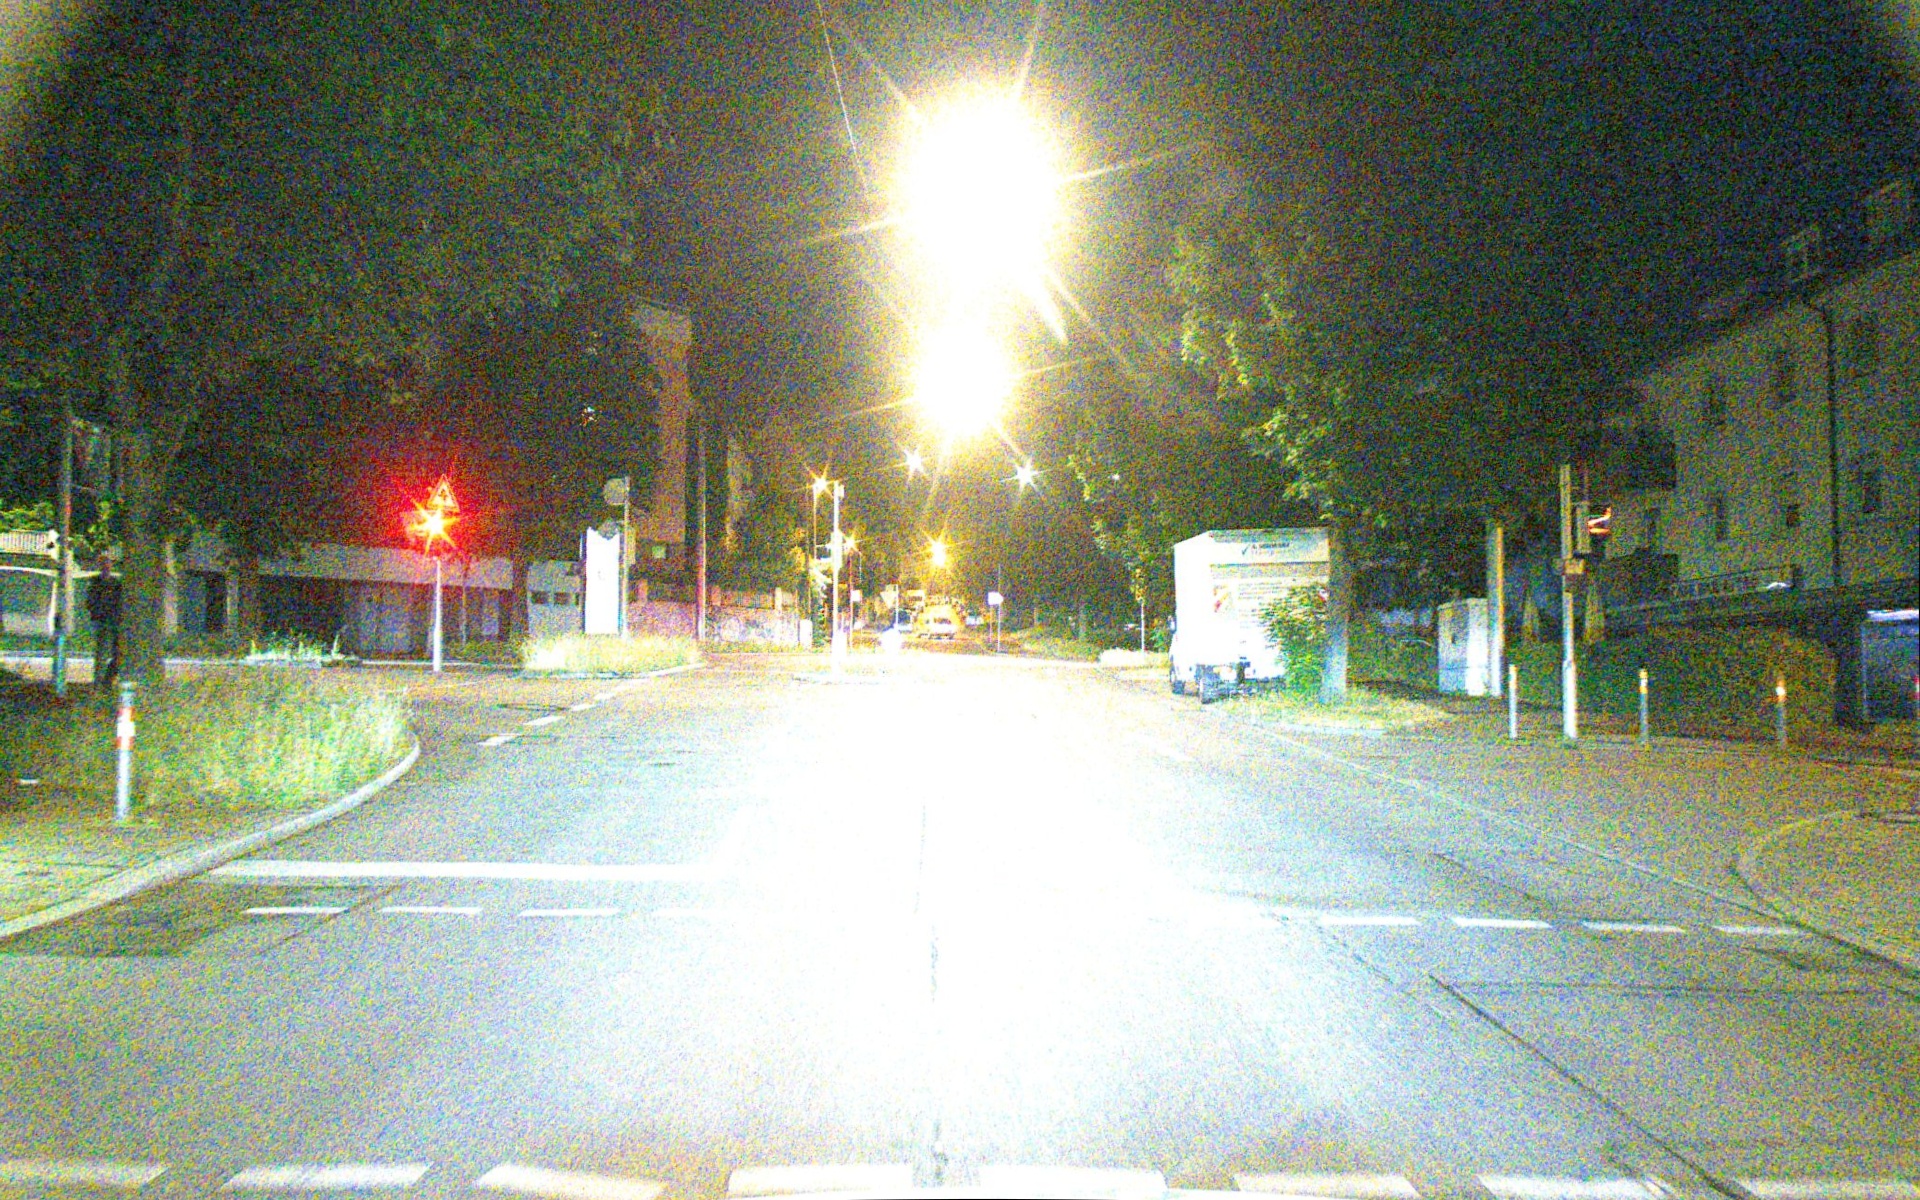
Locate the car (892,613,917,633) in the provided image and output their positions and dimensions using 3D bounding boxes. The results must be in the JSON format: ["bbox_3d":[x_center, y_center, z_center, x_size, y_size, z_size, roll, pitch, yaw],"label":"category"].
[{"bbox_3d":[-4.364,1.837,131.324,1.869,1.585,3.903,1,-1,-1],"label":"car"}]

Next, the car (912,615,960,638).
[{"bbox_3d":[-1.613,1.759,109.842,1.753,1.512,3.968,1,-1,-25],"label":"car"}]

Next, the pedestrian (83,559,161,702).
[{"bbox_3d":[-10.954,0.396,21.639,0.558,1.809,0.737,3,-1,-1],"label":"pedestrian"}]

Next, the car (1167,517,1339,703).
[{"bbox_3d":[5.406,0.207,31.401,2.249,3.147,5.840,-1,-1,1],"label":"car"}]

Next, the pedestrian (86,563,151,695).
[{"bbox_3d":[-11.401,0.389,22.420,0.558,1.761,0.543,1,-1,-1],"label":"pedestrian"}]
